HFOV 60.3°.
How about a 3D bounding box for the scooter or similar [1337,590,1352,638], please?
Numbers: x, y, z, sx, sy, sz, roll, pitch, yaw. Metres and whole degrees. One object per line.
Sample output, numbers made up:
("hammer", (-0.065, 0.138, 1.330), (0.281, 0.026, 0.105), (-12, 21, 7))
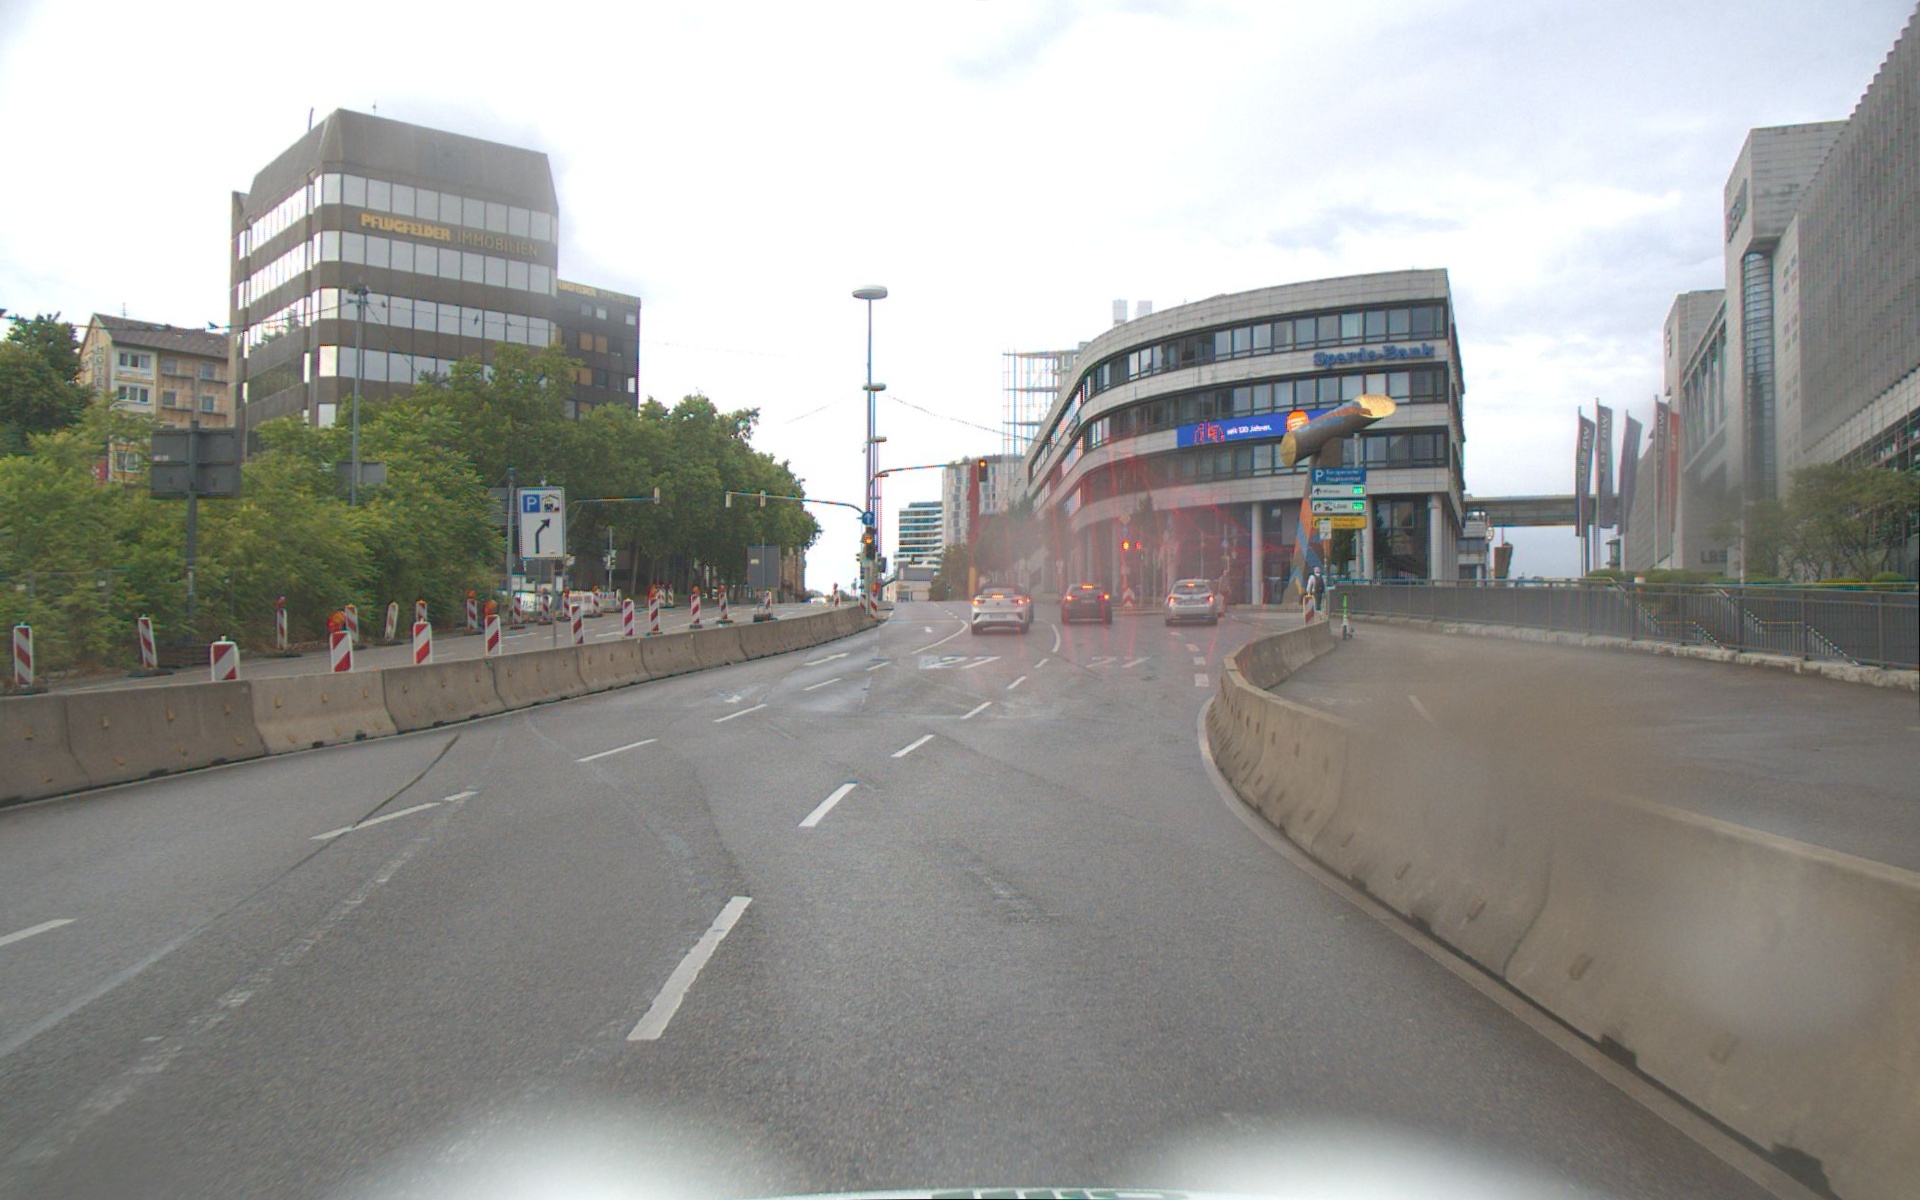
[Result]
("scooter or similar", (9.558, 0.355, 41.122), (0.341, 1.183, 0.573), (0, -1, 13))

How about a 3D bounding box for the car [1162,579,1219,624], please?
("car", (7.900, 0.064, 57.006), (1.665, 1.476, 4.618), (0, 0, 4))

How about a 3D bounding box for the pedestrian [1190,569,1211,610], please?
("pedestrian", (11.643, -0.486, 80.088), (0.823, 1.938, 0.860), (-1, -2, 24))

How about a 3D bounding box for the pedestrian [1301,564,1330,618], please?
("pedestrian", (11.557, -0.278, 53.799), (0.715, 1.741, 0.843), (0, -2, -2))

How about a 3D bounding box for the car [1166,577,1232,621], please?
("car", (9.258, -0.066, 63.898), (1.734, 1.662, 4.583), (0, 1, 18))

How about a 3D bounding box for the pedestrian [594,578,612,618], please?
("pedestrian", (-17.317, -0.090, 80.269), (0.658, 1.935, 0.775), (0, -2, 1))

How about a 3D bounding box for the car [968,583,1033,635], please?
("car", (1.328, 0.244, 52.730), (1.923, 1.576, 4.221), (0, 1, 3))

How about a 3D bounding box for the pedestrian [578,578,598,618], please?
("pedestrian", (-18.061, -0.097, 80.333), (0.745, 1.956, 0.742), (0, -2, 1))

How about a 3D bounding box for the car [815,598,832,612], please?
("car", (-15.720, 0.546, 190.594), (1.725, 1.486, 4.358), (-1, 1, -2))

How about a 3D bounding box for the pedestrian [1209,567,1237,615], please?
("pedestrian", (11.947, -0.421, 75.117), (0.841, 2.135, 0.897), (2, 0, -25))

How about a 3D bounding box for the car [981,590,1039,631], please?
("car", (1.822, 0.364, 61.306), (1.705, 1.468, 3.997), (1, 0, -4))

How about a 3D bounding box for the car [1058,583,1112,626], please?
("car", (4.471, 0.177, 59.518), (1.718, 1.432, 4.228), (1, -1, 2))
